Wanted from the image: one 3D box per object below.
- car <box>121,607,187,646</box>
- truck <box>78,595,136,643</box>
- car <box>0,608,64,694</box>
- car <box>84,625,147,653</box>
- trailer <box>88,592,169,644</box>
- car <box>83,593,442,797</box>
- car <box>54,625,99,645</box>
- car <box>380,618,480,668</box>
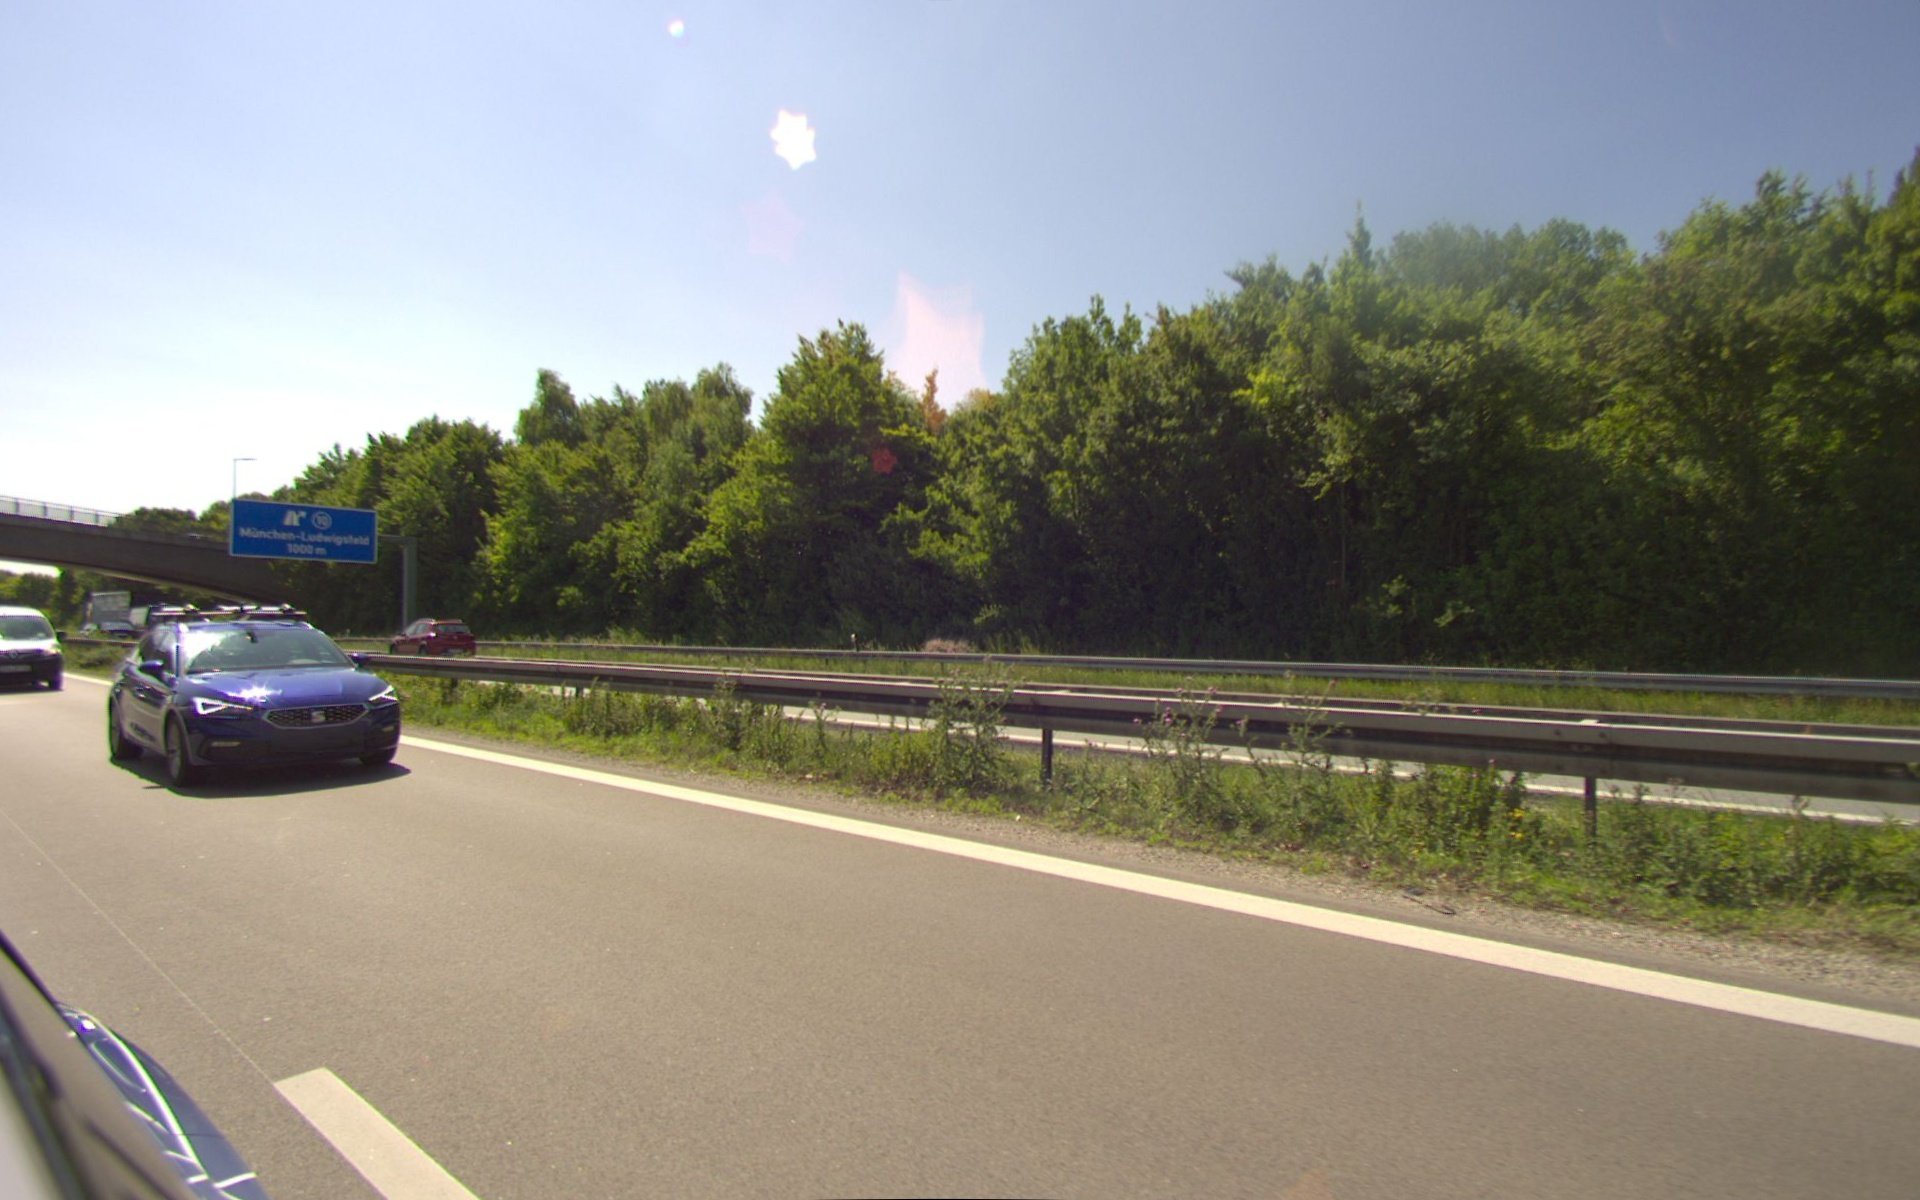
[{"bbox_3d":[-49.544,1.575,62.154,6.513,2.252,1.973,0,-1,41],"label":"car"},{"bbox_3d":[-75.601,1.730,89.671,6.205,4.092,2.756,-2,-4,40],"label":"truck"},{"bbox_3d":[-20.874,1.038,21.836,3.979,1.736,1.845,0,-1,42],"label":"car"},{"bbox_3d":[-44.225,2.012,52.965,4.541,1.386,1.707,-1,-2,40],"label":"car"},{"bbox_3d":[-70.131,1.574,85.181,13.537,4.071,2.756,-1,-4,41],"label":"trailer"},{"bbox_3d":[-7.145,0.810,10.210,4.236,1.638,1.881,-2,-1,39],"label":"car"},{"bbox_3d":[-63.767,2.518,73.037,4.541,1.386,1.707,-1,-2,40],"label":"car"},{"bbox_3d":[-19.071,1.485,36.352,4.320,1.642,1.842,0,-1,43],"label":"car"}]
